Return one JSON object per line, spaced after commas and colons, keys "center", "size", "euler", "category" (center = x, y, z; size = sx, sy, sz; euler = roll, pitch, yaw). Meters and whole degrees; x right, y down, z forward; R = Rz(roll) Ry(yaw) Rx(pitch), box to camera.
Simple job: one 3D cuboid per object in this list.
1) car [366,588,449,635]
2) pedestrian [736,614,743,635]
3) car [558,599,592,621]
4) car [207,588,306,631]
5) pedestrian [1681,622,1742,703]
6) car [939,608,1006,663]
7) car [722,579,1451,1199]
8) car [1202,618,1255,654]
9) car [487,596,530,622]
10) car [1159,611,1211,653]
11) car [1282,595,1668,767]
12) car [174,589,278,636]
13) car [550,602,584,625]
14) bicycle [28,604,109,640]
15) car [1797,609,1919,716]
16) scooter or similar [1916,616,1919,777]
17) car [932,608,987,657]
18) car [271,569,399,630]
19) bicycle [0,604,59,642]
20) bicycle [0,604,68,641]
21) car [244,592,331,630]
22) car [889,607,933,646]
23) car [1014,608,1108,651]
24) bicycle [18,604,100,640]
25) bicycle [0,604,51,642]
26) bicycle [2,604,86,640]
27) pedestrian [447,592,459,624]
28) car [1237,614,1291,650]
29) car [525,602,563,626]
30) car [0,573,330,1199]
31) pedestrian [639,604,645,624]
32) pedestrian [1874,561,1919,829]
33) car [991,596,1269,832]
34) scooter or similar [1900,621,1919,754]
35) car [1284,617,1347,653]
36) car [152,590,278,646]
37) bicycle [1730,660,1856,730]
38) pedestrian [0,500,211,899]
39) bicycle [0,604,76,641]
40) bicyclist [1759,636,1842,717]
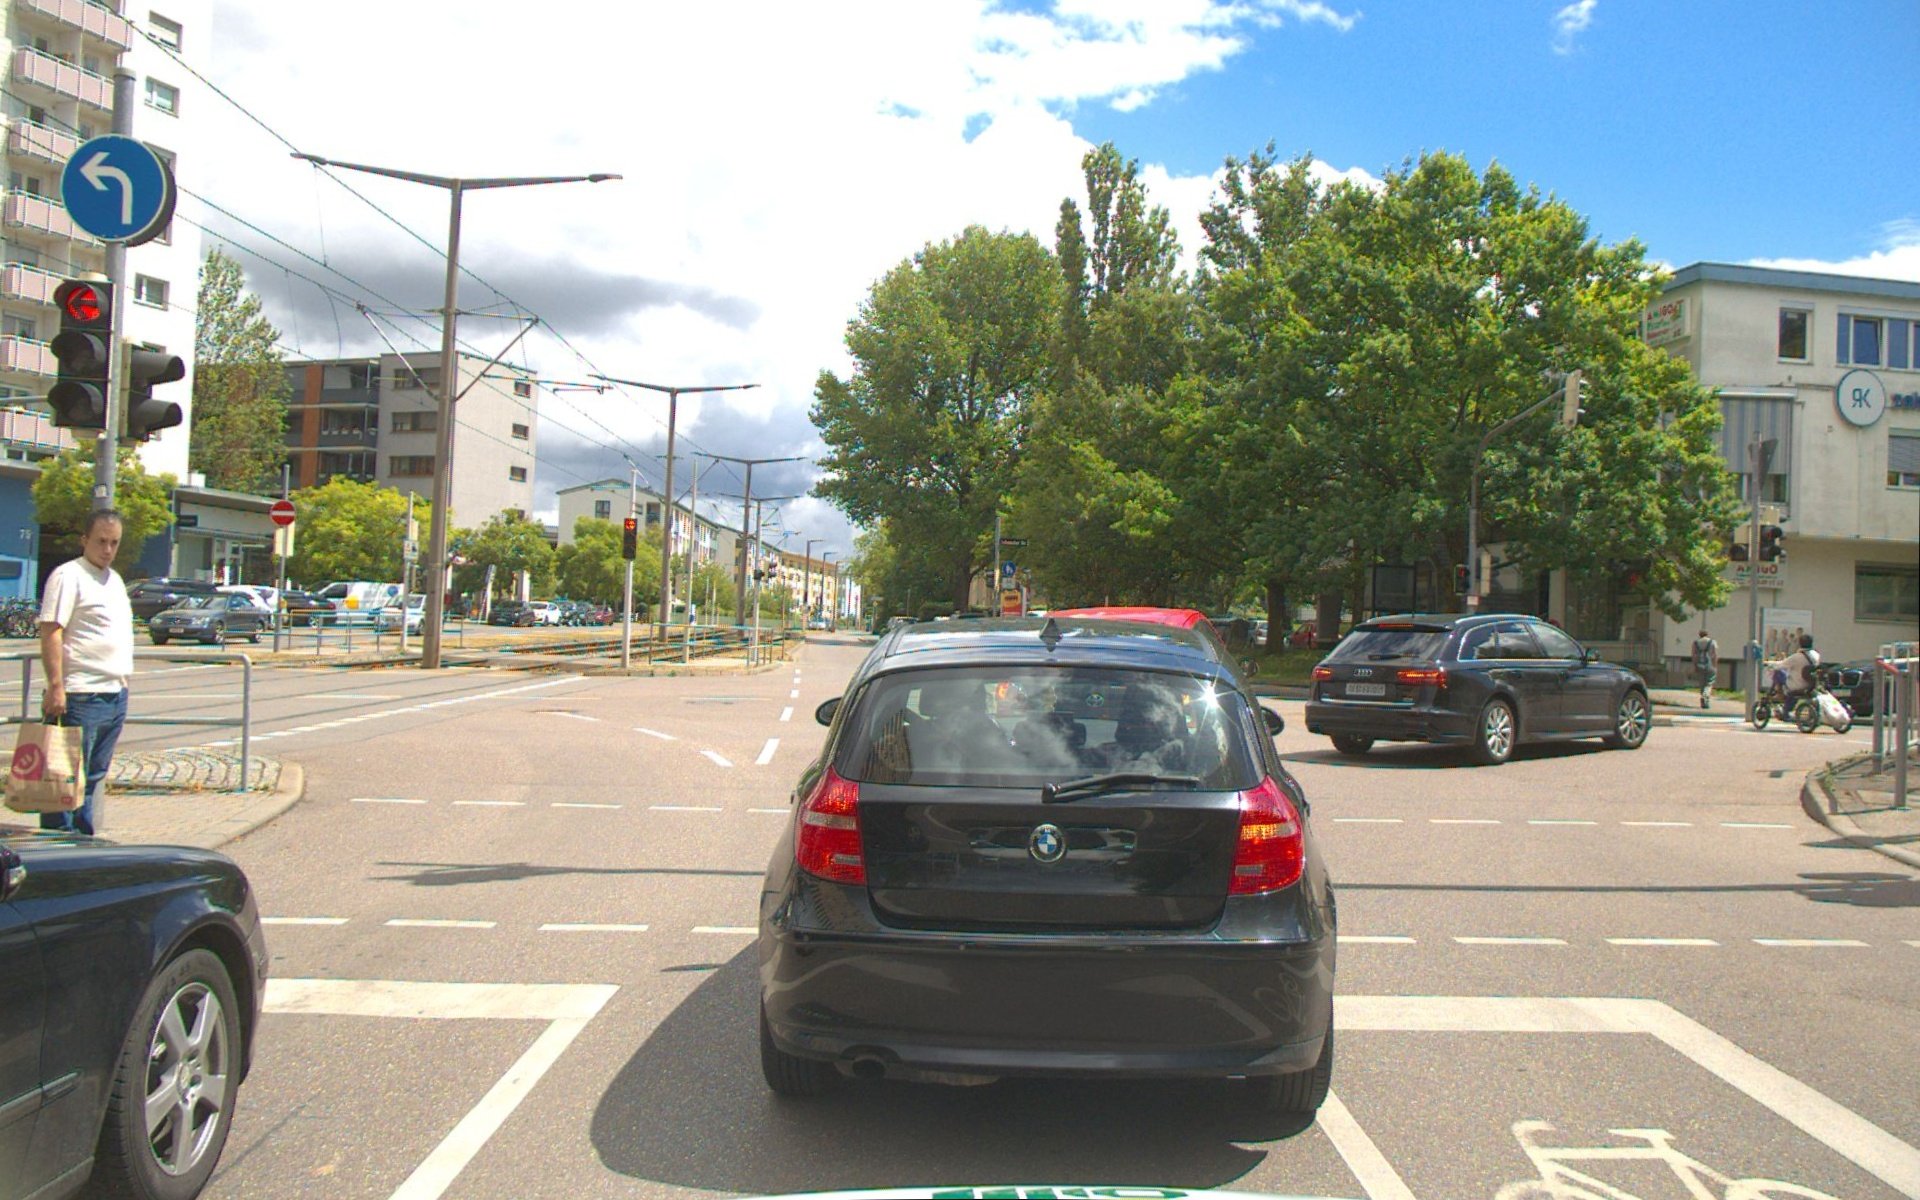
{"center": [-21.502, 0.435, 64.505], "size": [1.897, 1.722, 3.872], "euler": [1, 0, -1], "category": "car"}
{"center": [-17.321, 1.931, 129.952], "size": [0.469, 1.665, 0.454], "euler": [1, 0, -2], "category": "pedestrian"}
{"center": [-25.993, 0.688, 111.749], "size": [1.728, 1.419, 3.994], "euler": [1, 0, -7], "category": "car"}
{"center": [-26.978, 0.362, 63.350], "size": [4.144, 1.564, 1.949], "euler": [1, 0, 43], "category": "car"}
{"center": [15.973, 1.319, 35.165], "size": [0.886, 1.672, 0.770], "euler": [2, 0, -2], "category": "pedestrian"}
{"center": [0.374, 1.153, 54.200], "size": [2.108, 1.713, 3.999], "euler": [1, -1, -1], "category": "car"}
{"center": [0.284, 0.721, 5.960], "size": [1.717, 1.513, 3.999], "euler": [1, 0, -1], "category": "car"}
{"center": [12.582, 1.663, 77.730], "size": [1.598, 1.600, 4.029], "euler": [1, 0, -4], "category": "car"}
{"center": [-25.375, 0.502, 93.084], "size": [1.728, 1.419, 3.994], "euler": [1, 0, -7], "category": "car"}
{"center": [10.424, 1.481, 76.925], "size": [1.598, 1.842, 4.029], "euler": [1, 0, -4], "category": "car"}
{"center": [5.552, 0.783, 17.535], "size": [4.484, 1.581, 1.969], "euler": [1, -1, -43], "category": "car"}
{"center": [-26.682, 0.455, 60.071], "size": [4.144, 1.597, 1.949], "euler": [1, 0, 43], "category": "car"}
{"center": [-25.454, 0.855, 107.190], "size": [1.728, 1.419, 3.994], "euler": [1, 0, -7], "category": "car"}
{"center": [-24.703, 0.604, 45.835], "size": [1.909, 0.951, 0.494], "euler": [1, -1, -7], "category": "bicycle"}
{"center": [17.167, 1.085, 28.597], "size": [4.472, 1.747, 1.997], "euler": [1, 0, -8], "category": "car"}
{"center": [8.399, 0.800, 13.117], "size": [1.315, 1.299, 0.462], "euler": [1, 1, 6], "category": "scooter or similar"}
{"center": [-0.038, 1.211, 61.642], "size": [1.953, 1.713, 3.999], "euler": [1, -1, -1], "category": "car"}
{"center": [-27.087, -0.045, 71.549], "size": [2.810, 2.522, 6.614], "euler": [1, 0, -44], "category": "car"}
{"center": [-24.664, 0.592, 43.204], "size": [1.909, 0.951, 0.494], "euler": [1, -1, -7], "category": "bicycle"}
{"center": [-24.710, 0.593, 43.709], "size": [1.909, 0.951, 0.494], "euler": [1, -1, -7], "category": "bicycle"}
{"center": [-27.031, 0.427, 66.460], "size": [1.777, 1.445, 4.148], "euler": [1, 0, -45], "category": "car"}
{"center": [-2.251, 1.217, 77.046], "size": [1.953, 1.713, 3.999], "euler": [1, 0, -1], "category": "car"}
{"center": [4.643, 1.337, 75.768], "size": [3.933, 1.855, 1.766], "euler": [1, 0, -23], "category": "car"}
{"center": [-24.675, 0.602, 45.323], "size": [1.909, 0.951, 0.494], "euler": [1, -1, -7], "category": "bicycle"}
{"center": [-24.602, 0.590, 42.684], "size": [1.909, 0.951, 0.494], "euler": [1, -1, -7], "category": "bicycle"}
{"center": [-24.765, 0.597, 44.730], "size": [1.909, 0.951, 0.494], "euler": [1, -1, -7], "category": "bicycle"}
{"center": [-28.294, 0.452, 92.243], "size": [0.537, 1.746, 0.404], "euler": [1, 0, -11], "category": "pedestrian"}
{"center": [14.531, 1.493, 79.151], "size": [1.598, 1.623, 3.997], "euler": [1, 0, -4], "category": "car"}
{"center": [-25.270, 0.842, 100.614], "size": [1.728, 1.419, 3.994], "euler": [1, 0, -7], "category": "car"}
{"center": [-2.579, 0.675, 2.269], "size": [1.693, 1.487, 4.543], "euler": [1, 0, -1], "category": "car"}
{"center": [-26.719, 1.213, 139.045], "size": [0.444, 1.665, 0.480], "euler": [1, 0, -3], "category": "pedestrian"}
{"center": [6.629, 0.608, 10.830], "size": [0.932, 1.703, 0.871], "euler": [0, 0, 14], "category": "pedestrian"}
{"center": [1.372, 0.730, 12.265], "size": [1.509, 1.466, 3.198], "euler": [1, 0, 15], "category": "car"}
{"center": [9.209, 0.817, 14.935], "size": [1.338, 1.176, 0.539], "euler": [3, 0, -26], "category": "scooter or similar"}
{"center": [17.073, 1.650, 79.599], "size": [1.698, 1.623, 3.993], "euler": [1, 0, -8], "category": "car"}
{"center": [-20.575, 0.505, 45.862], "size": [1.602, 1.424, 4.491], "euler": [2, -1, -3], "category": "car"}
{"center": [11.410, 1.289, 22.730], "size": [0.775, 0.833, 1.807], "euler": [2, 0, -1], "category": "bicycle"}
{"center": [-4.248, 0.460, 8.044], "size": [0.851, 1.839, 0.741], "euler": [1, 0, -5], "category": "pedestrian"}
{"center": [-24.754, 0.595, 44.184], "size": [1.909, 0.951, 0.494], "euler": [1, -1, -7], "category": "bicycle"}
{"center": [11.422, 1.033, 22.498], "size": [0.775, 1.040, 0.636], "euler": [2, 0, -2], "category": "bicyclist"}
